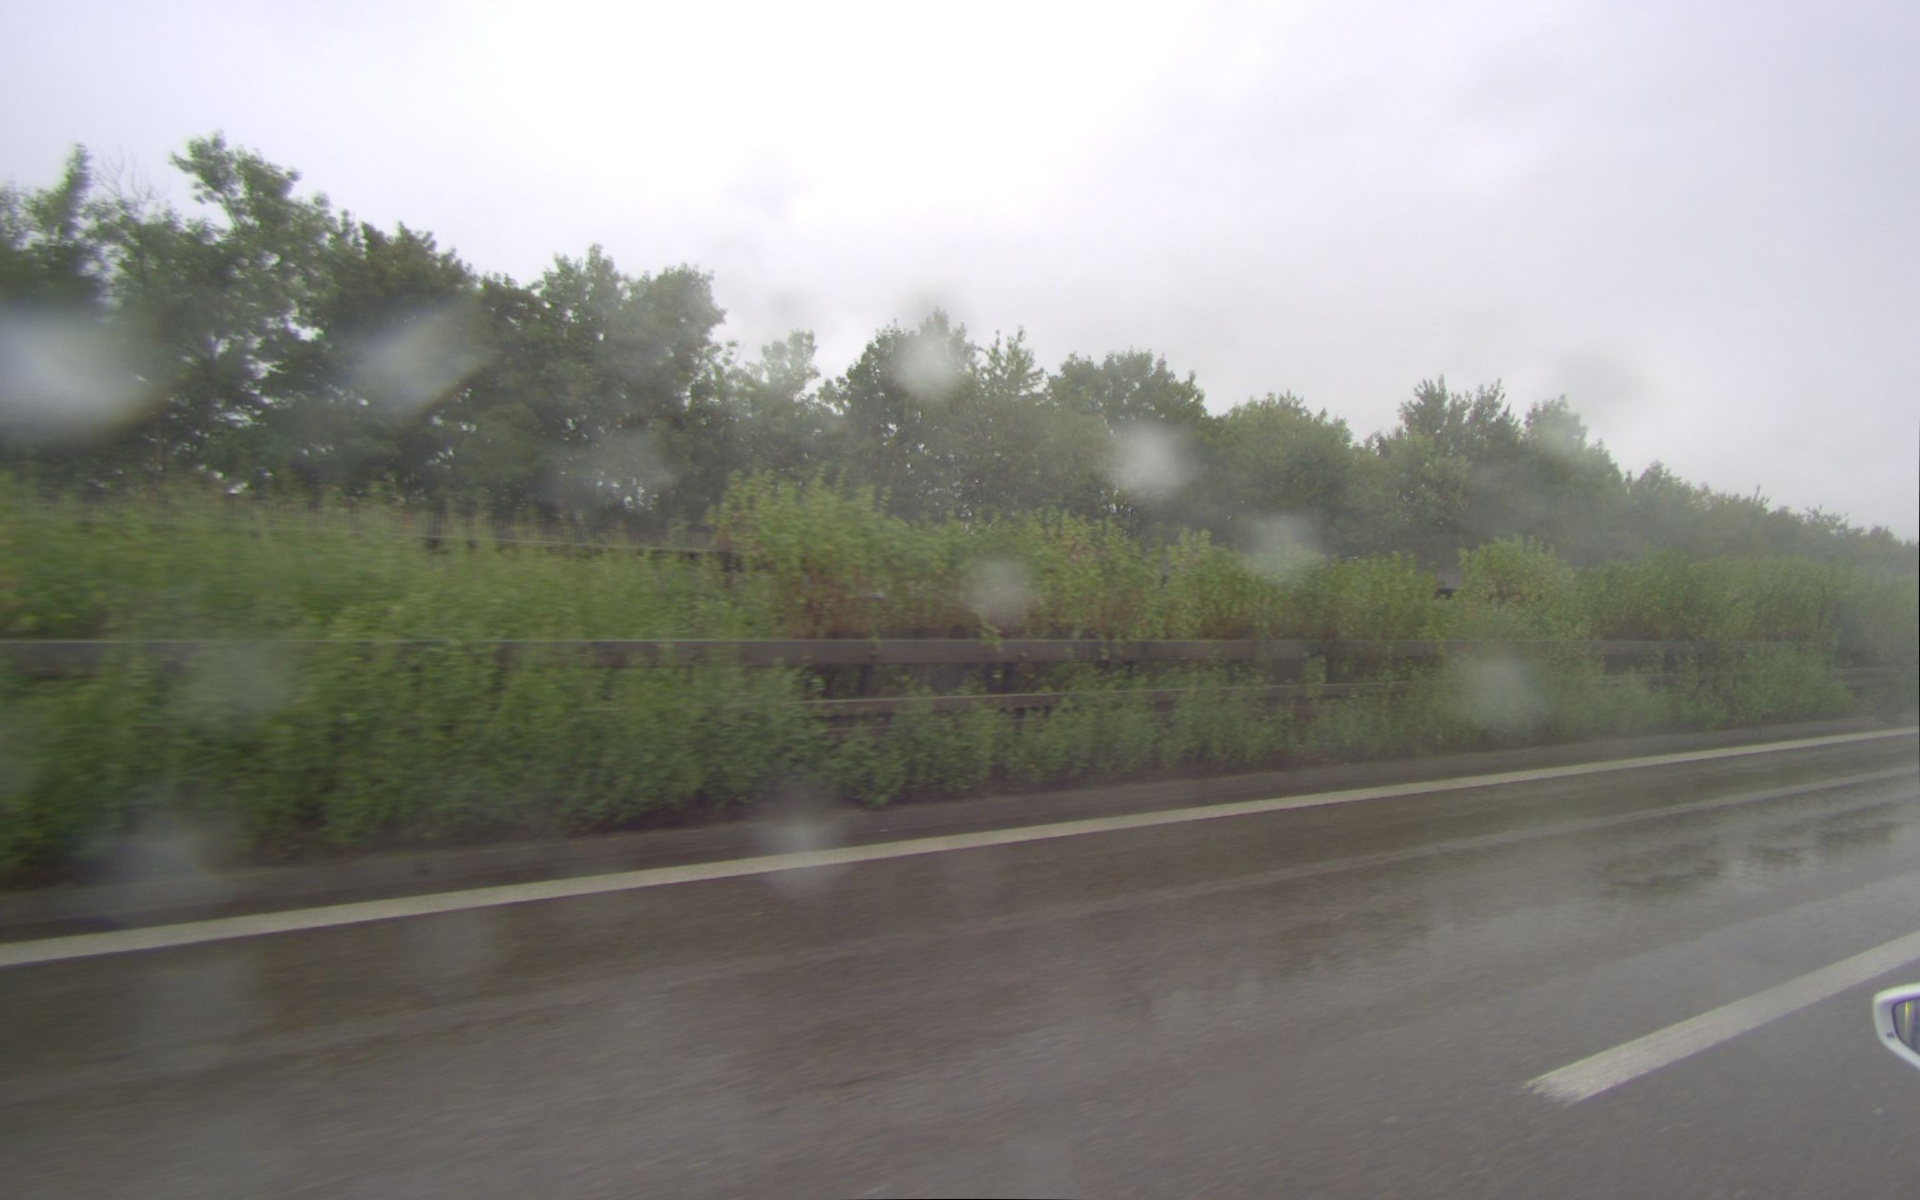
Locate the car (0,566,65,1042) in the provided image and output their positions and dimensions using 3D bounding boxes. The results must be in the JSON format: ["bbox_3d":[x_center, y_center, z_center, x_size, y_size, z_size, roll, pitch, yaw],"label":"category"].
[{"bbox_3d":[-5.001,0.583,1.518,5.099,1.505,2.043,2,0,-31],"label":"car"}]
